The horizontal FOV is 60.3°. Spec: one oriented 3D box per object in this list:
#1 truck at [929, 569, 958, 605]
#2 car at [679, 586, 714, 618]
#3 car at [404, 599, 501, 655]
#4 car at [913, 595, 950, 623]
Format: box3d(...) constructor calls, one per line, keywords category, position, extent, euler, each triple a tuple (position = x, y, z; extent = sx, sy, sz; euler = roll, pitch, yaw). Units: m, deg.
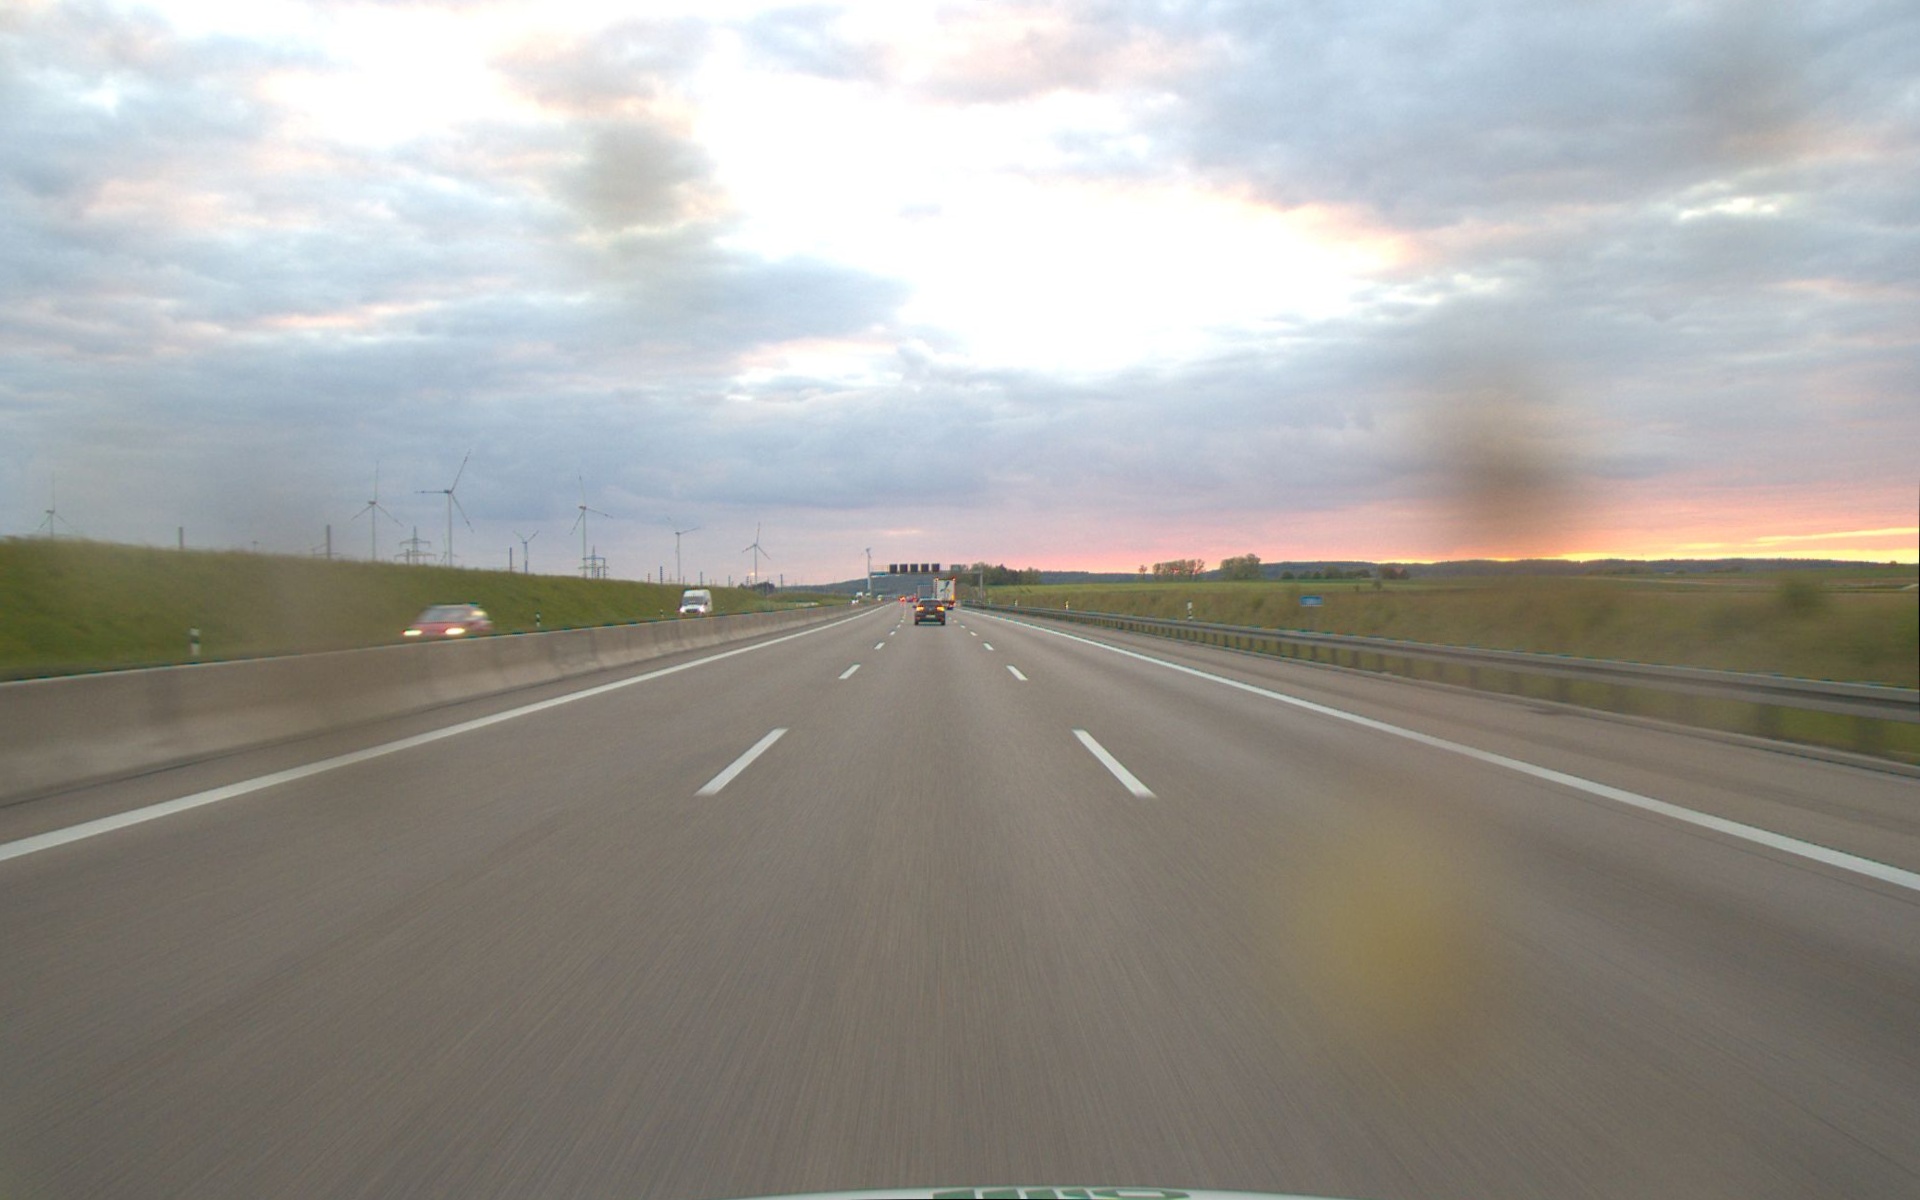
box3d(category="truck", position=(-2.277, -1.694, 224.104), extent=(3.601, 4.644, 10.977), euler=(-1, 0, -2))
box3d(category="car", position=(-22.316, 0.163, 140.222), extent=(1.953, 2.591, 7.375), euler=(-1, 0, -2))
box3d(category="car", position=(-15.901, 0.822, 52.017), extent=(1.815, 1.620, 4.105), euler=(-1, 0, -1))
box3d(category="car", position=(-1.566, 0.472, 92.531), extent=(1.947, 1.454, 4.000), euler=(-1, 0, 1))
